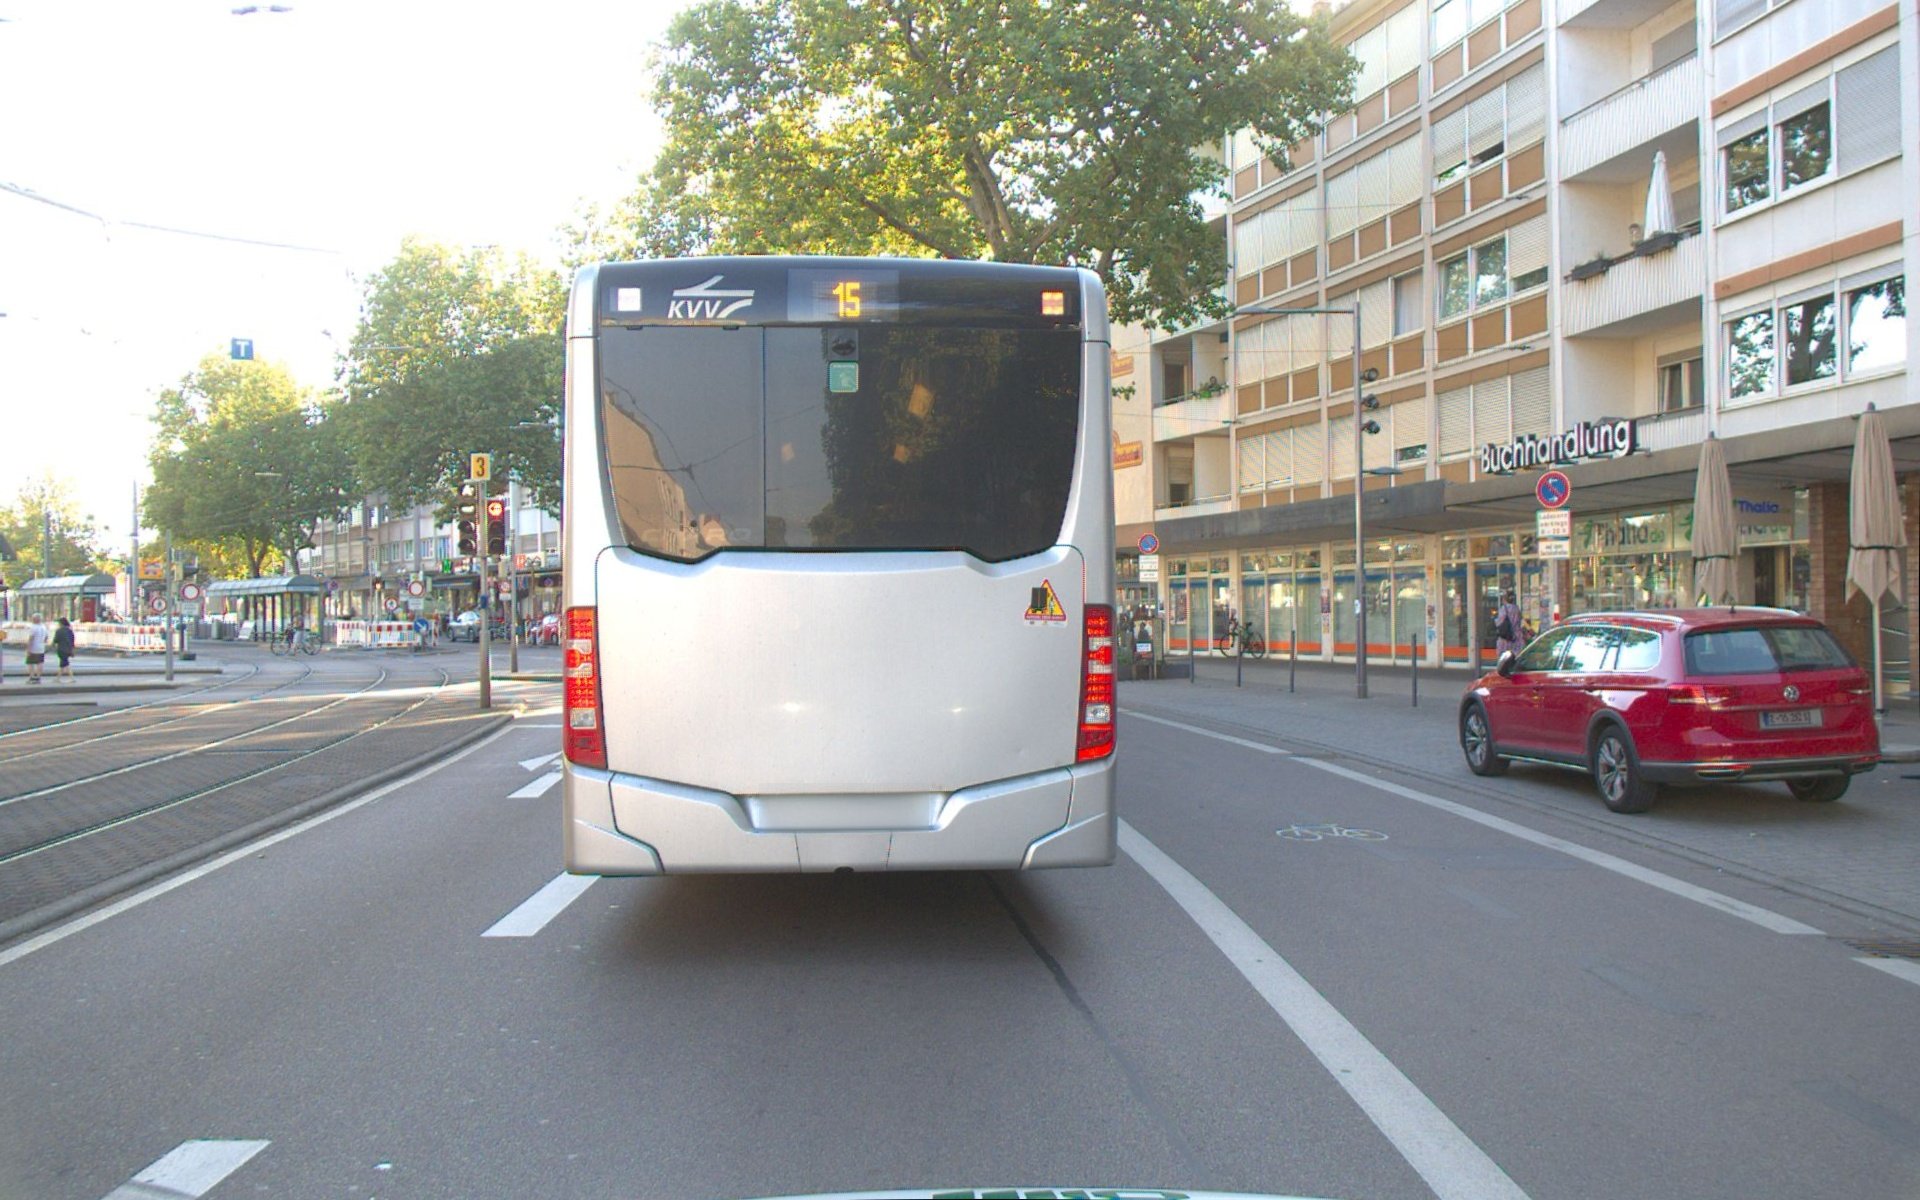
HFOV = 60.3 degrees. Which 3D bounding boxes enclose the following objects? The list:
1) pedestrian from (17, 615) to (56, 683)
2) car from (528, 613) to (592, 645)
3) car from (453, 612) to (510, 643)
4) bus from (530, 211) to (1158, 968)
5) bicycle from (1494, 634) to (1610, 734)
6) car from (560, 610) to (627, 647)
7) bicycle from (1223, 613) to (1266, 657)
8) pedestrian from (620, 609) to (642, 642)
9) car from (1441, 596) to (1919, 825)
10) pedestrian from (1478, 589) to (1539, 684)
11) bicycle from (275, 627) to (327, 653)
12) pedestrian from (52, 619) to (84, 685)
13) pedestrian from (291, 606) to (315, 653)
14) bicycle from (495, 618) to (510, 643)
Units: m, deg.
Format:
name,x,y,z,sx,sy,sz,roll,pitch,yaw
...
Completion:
name,x,y,z,sx,sy,sz,roll,pitch,yaw
pedestrian,-21.277,1.123,38.131,0.509,1.530,0.594,-1,-1,16
car,-19.026,1.364,78.638,1.652,1.419,3.365,-4,2,-39
car,-24.776,1.398,85.629,1.651,1.494,3.366,-4,2,-38
bus,-0.735,-0.005,12.060,2.605,3.153,10.209,-1,-1,-3
bicycle,6.990,0.970,19.597,0.502,1.089,1.657,-3,0,-10
car,-16.713,1.297,75.349,1.650,1.543,3.368,-4,2,-37
bicycle,7.464,0.919,43.425,0.431,1.111,1.453,-3,0,-20
pedestrian,-13.596,1.050,68.349,0.766,1.326,0.590,0,-1,-22
car,5.774,0.789,13.939,1.744,1.522,4.563,-3,0,-5
pedestrian,9.341,0.613,28.194,0.629,1.579,0.804,-1,-1,-15
bicycle,-24.975,1.511,62.706,0.456,0.959,1.833,-1,-1,44
pedestrian,-20.867,1.208,38.687,0.399,1.530,0.517,-1,-1,15
pedestrian,-24.730,1.118,62.278,0.392,1.755,0.717,-1,-1,44
bicycle,-22.845,1.508,82.551,0.500,1.232,2.079,0,0,-21
